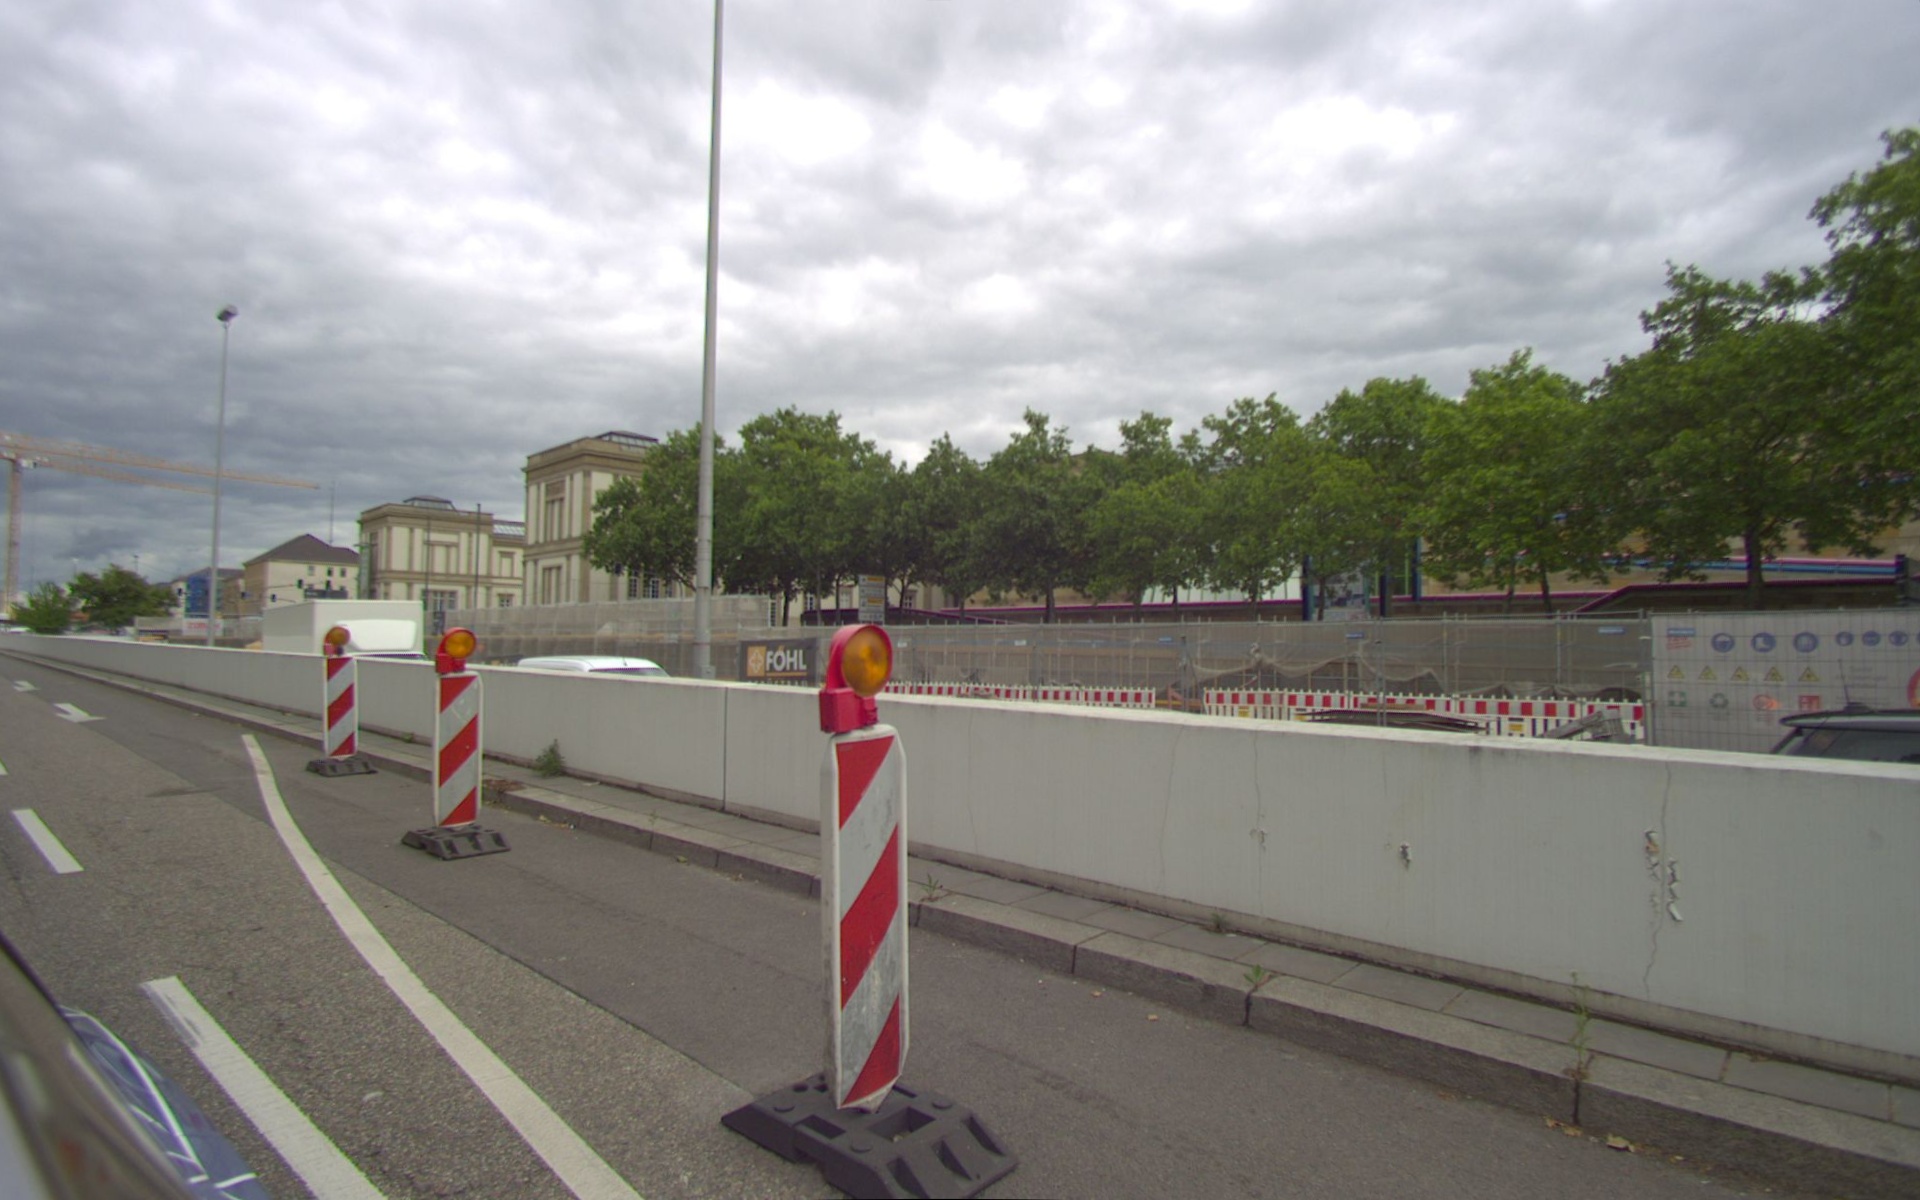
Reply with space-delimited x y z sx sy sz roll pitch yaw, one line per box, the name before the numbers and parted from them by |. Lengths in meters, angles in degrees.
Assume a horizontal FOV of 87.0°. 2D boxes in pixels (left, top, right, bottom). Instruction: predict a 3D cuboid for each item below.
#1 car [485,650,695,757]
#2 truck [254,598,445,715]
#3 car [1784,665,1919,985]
car | -6.785 1.782 18.376 4.001 1.654 1.971 -2 -4 44
truck | -16.324 1.547 26.869 6.674 2.733 2.574 -4 -5 43
car | 6.767 1.203 5.026 4.001 1.654 1.971 -2 -4 44
